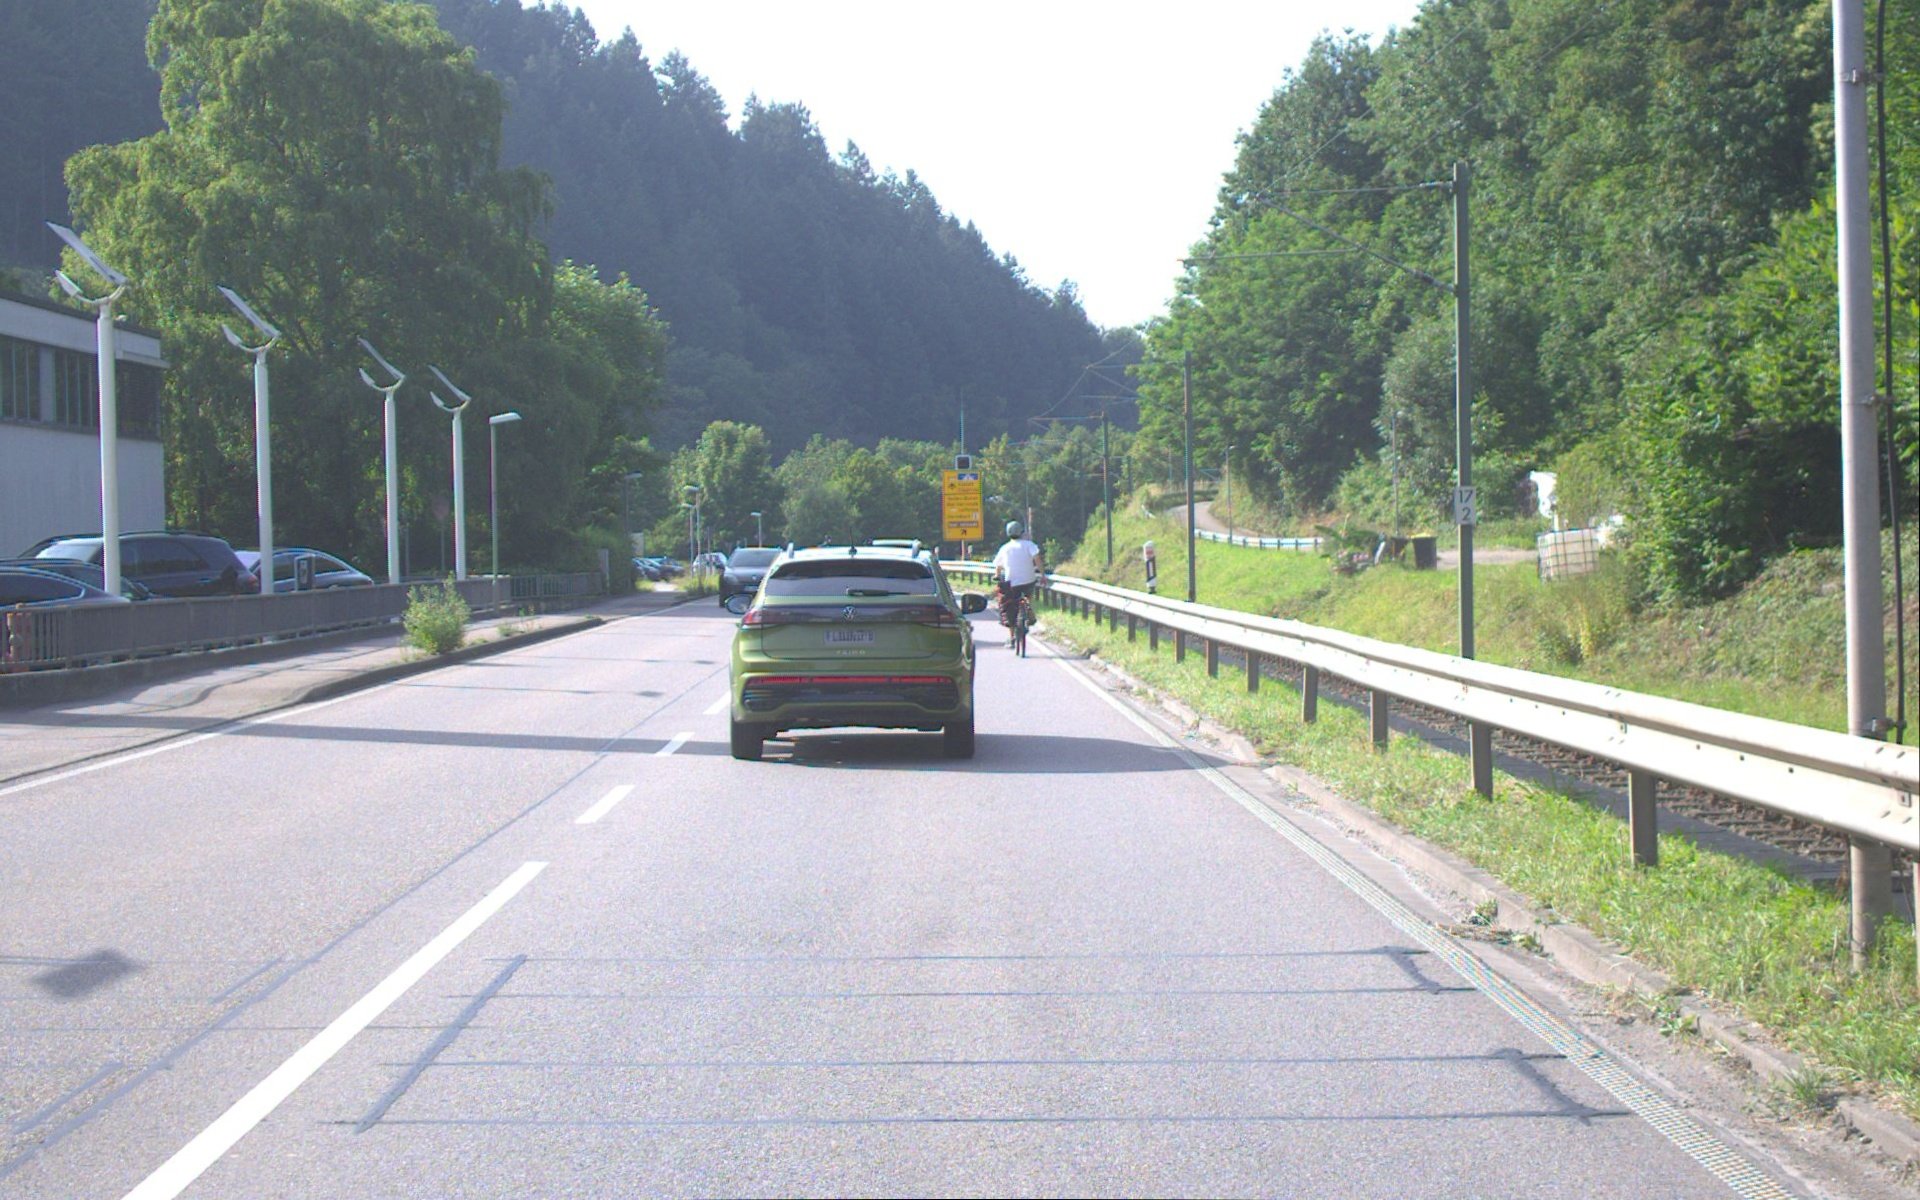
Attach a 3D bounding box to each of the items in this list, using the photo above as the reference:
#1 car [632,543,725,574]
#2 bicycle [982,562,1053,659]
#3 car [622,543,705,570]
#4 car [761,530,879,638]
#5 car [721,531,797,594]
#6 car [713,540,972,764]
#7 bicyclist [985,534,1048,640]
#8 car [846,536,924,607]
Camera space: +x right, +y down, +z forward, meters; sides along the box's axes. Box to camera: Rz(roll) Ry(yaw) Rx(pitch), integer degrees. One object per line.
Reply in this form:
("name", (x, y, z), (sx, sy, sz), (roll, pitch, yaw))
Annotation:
("car", (-13.275, -1.978, 162.327), (4.259, 1.428, 1.557), (-1, 1, 0))
("bicycle", (0.759, 0.121, 45.947), (0.811, 1.246, 2.123), (-1, 1, -3))
("car", (-15.785, -2.327, 183.265), (4.259, 1.428, 1.557), (-1, 1, 0))
("car", (-2.120, -0.268, 52.637), (1.739, 1.596, 4.000), (0, 1, -2))
("car", (-4.928, -0.943, 84.727), (1.677, 1.480, 4.246), (1, 1, -1))
("car", (-0.853, 0.313, 25.214), (1.739, 1.503, 4.000), (0, 1, -2))
("bicyclist", (0.755, -0.180, 45.977), (0.781, 1.407, 0.675), (-1, 1, -3))
("car", (-1.725, -0.673, 78.758), (1.739, 1.596, 4.000), (0, 1, -2))
